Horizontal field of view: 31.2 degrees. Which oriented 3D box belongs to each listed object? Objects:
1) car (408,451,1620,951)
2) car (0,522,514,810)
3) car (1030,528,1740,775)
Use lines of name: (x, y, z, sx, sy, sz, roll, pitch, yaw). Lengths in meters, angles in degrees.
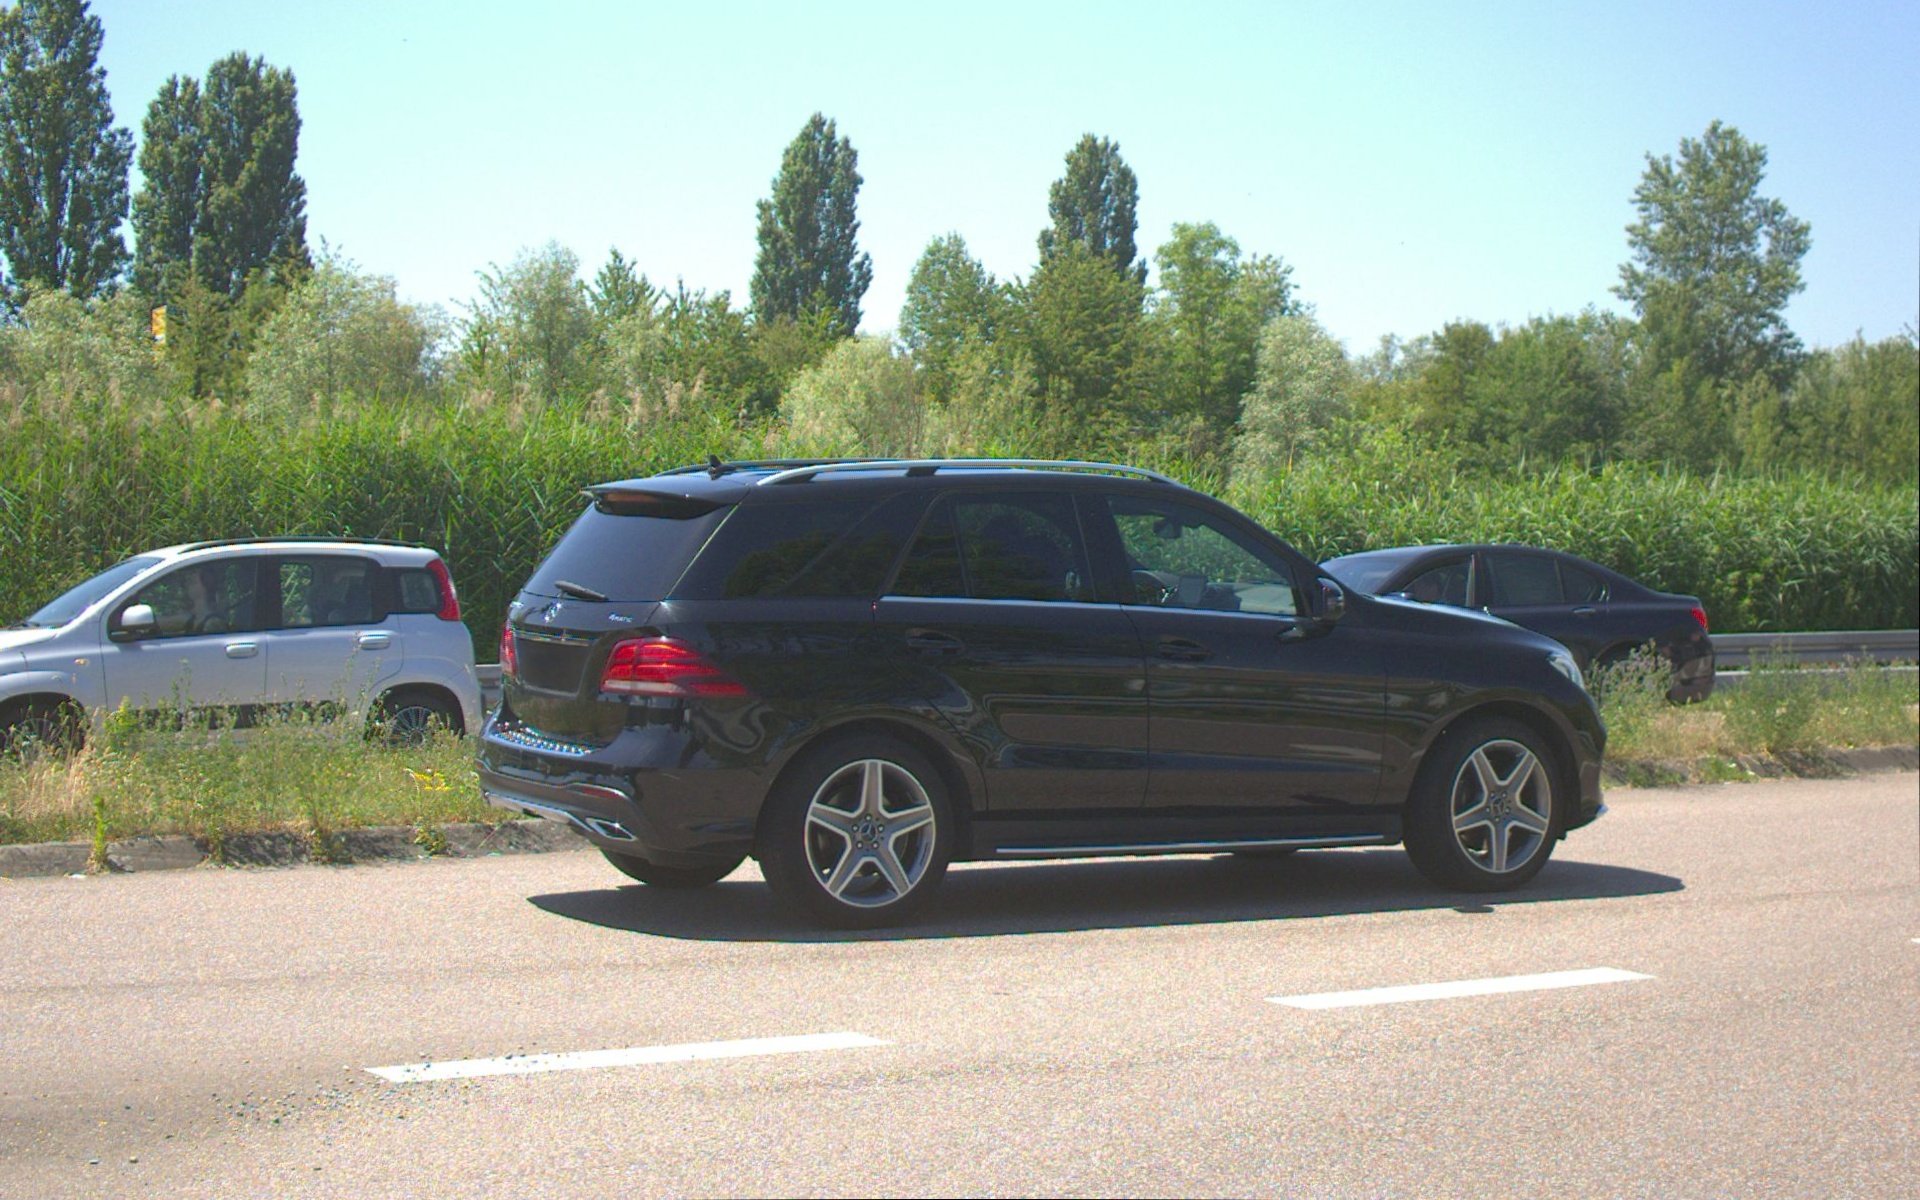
car: (0.261, 0.331, 14.043, 4.582, 1.761, 1.934, 0, 1, -29)
car: (-4.806, 0.359, 21.096, 3.706, 1.626, 1.734, -1, 1, -28)
car: (3.153, 0.319, 25.308, 4.924, 1.626, 1.934, -1, 1, -26)
